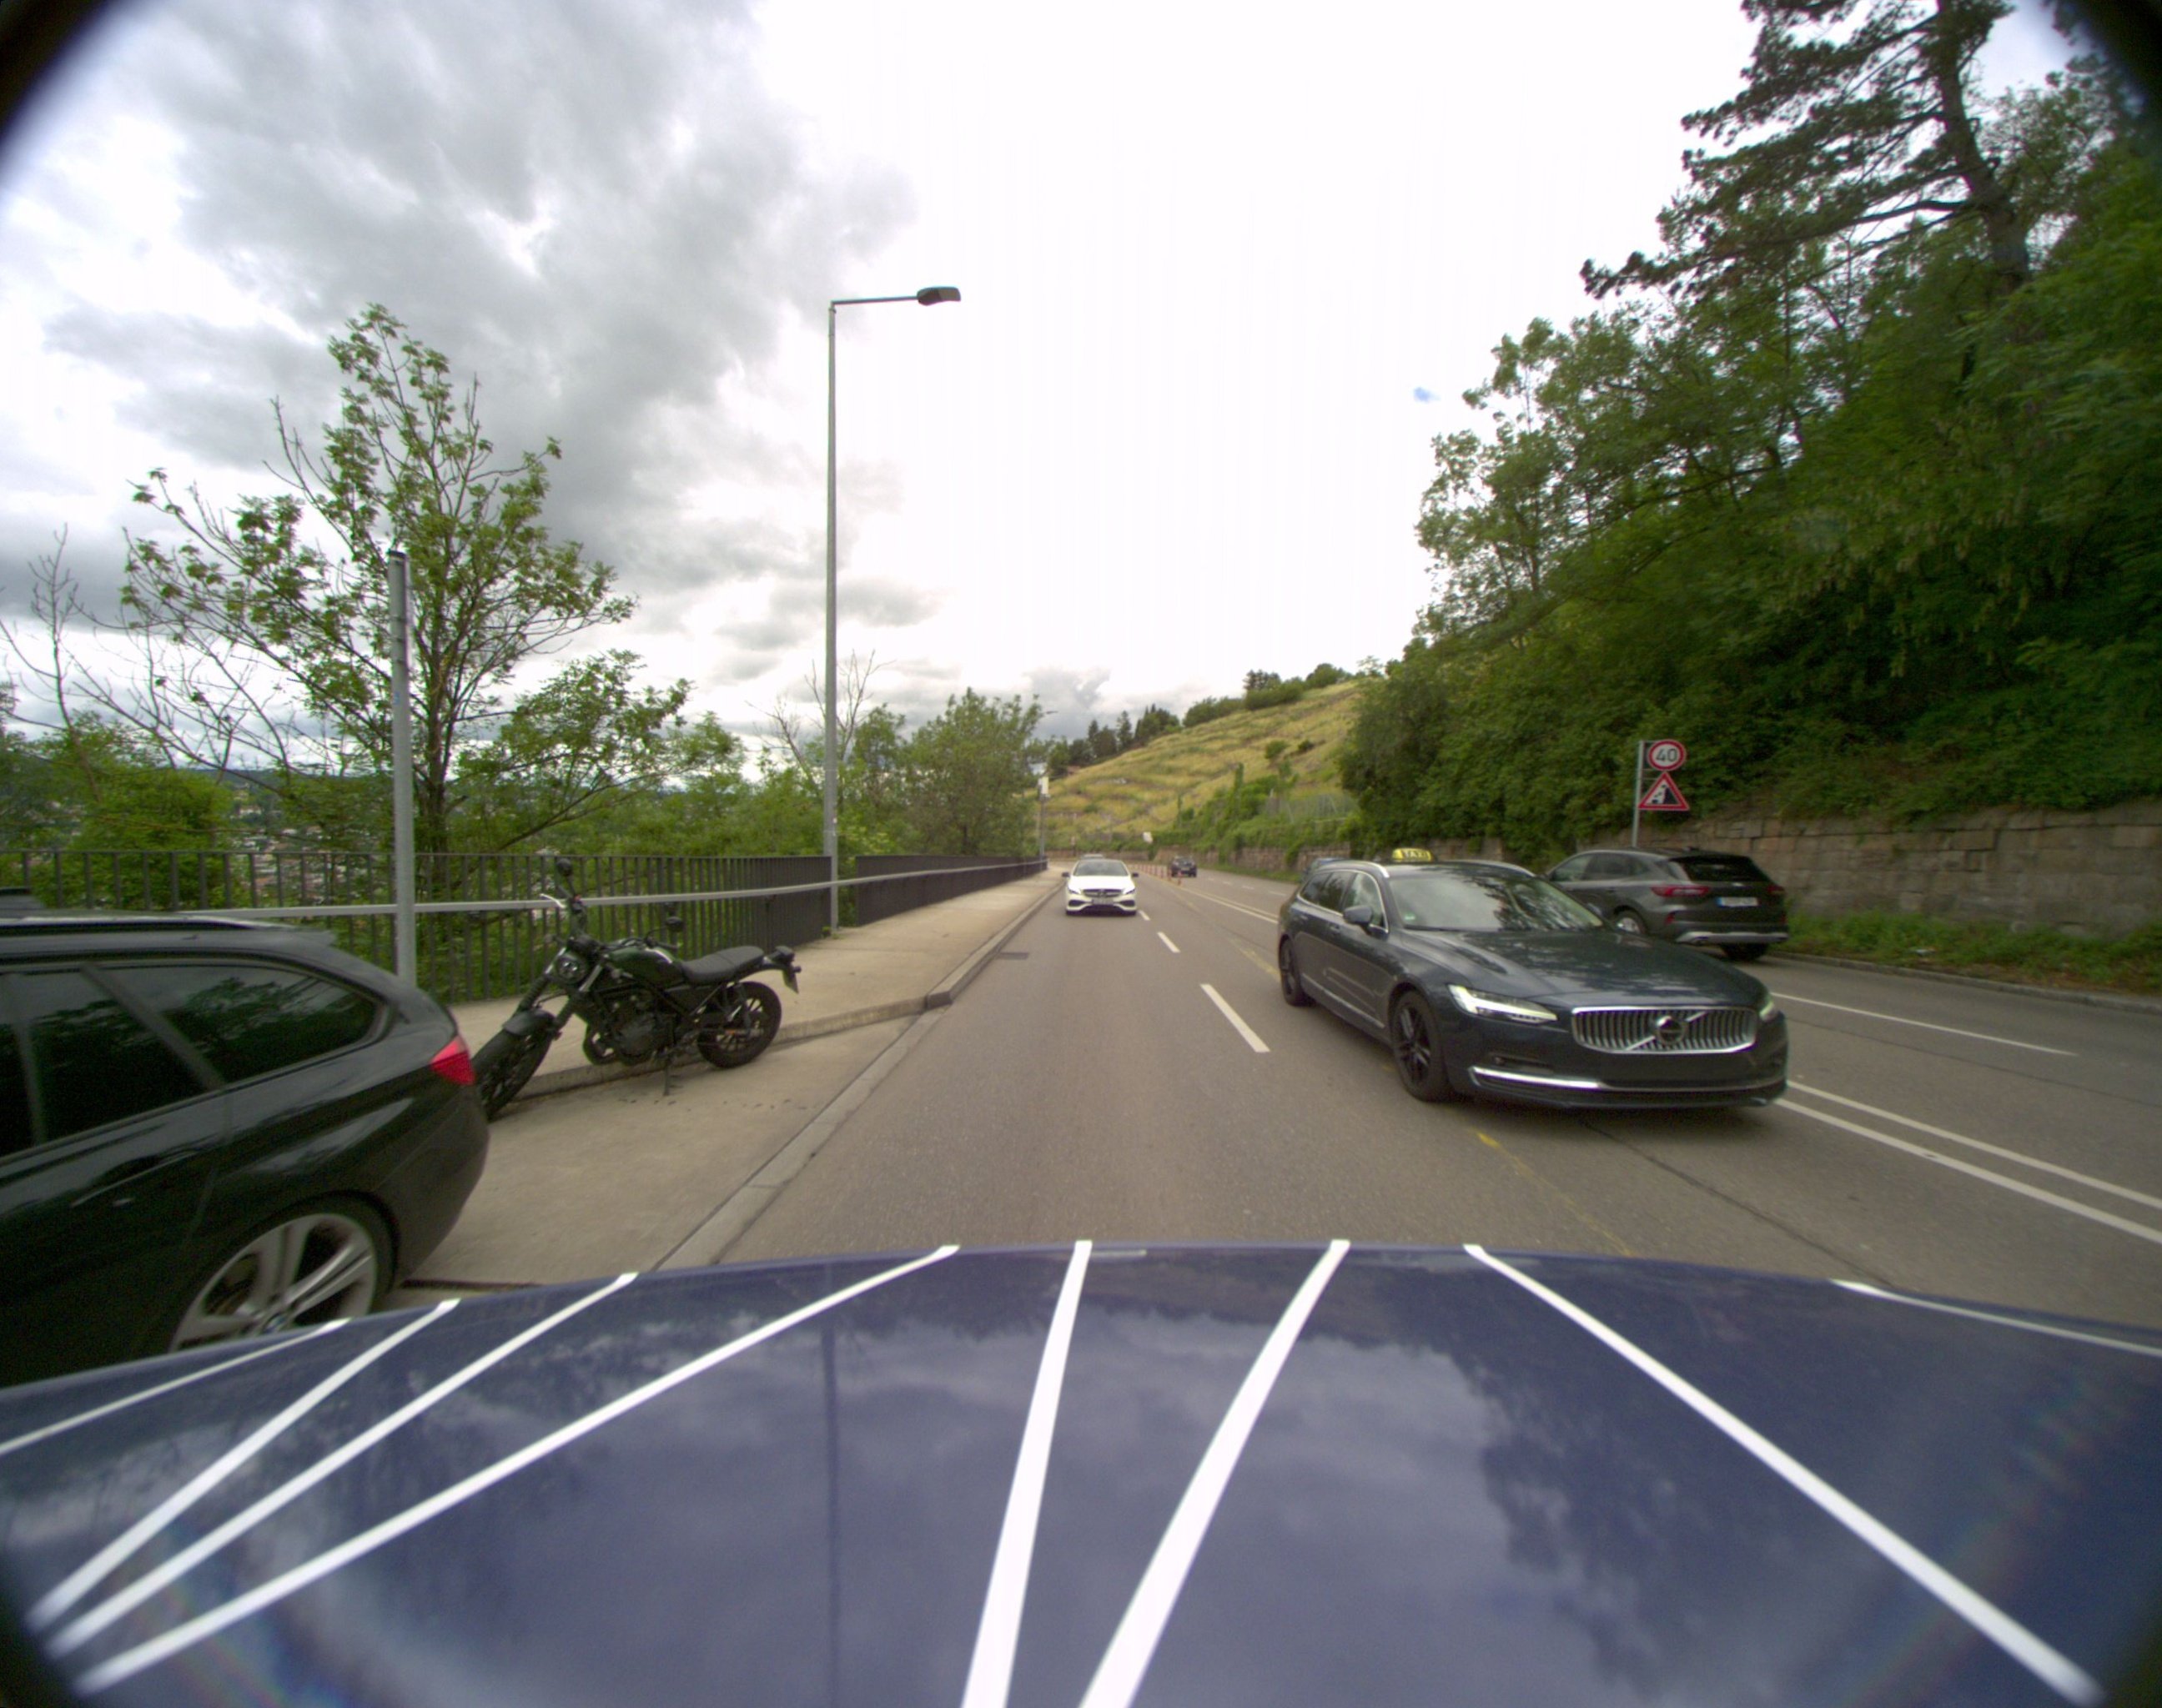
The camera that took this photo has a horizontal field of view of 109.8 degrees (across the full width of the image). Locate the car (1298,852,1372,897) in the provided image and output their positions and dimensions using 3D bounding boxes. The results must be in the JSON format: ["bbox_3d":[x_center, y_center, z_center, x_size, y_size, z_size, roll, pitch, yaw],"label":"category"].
[{"bbox_3d":[9.178,0.696,27.679,1.587,1.453,3.523,-2,1,2],"label":"car"}]

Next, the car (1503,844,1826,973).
[{"bbox_3d":[8.854,0.693,12.161,1.820,1.687,4.469,0,1,1],"label":"car"}]

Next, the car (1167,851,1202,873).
[{"bbox_3d":[7.328,0.556,53.975,1.861,1.437,4.295,0,1,-1],"label":"car"}]

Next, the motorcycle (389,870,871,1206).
[{"bbox_3d":[-2.517,0.866,4.733,0.770,1.459,2.510,0,1,30],"label":"motorcycle"}]

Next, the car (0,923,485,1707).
[{"bbox_3d":[-2.931,0.969,0.387,1.828,1.393,4.319,3,0,0],"label":"car"}]

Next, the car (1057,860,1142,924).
[{"bbox_3d":[0.480,0.903,19.485,1.903,1.418,4.266,-2,-1,2],"label":"car"}]

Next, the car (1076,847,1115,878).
[{"bbox_3d":[0.827,0.438,42.161,1.998,1.580,4.000,-2,1,2],"label":"car"}]

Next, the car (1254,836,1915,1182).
[{"bbox_3d":[2.917,0.710,6.042,1.939,1.567,5.026,-1,0,1],"label":"car"}]
